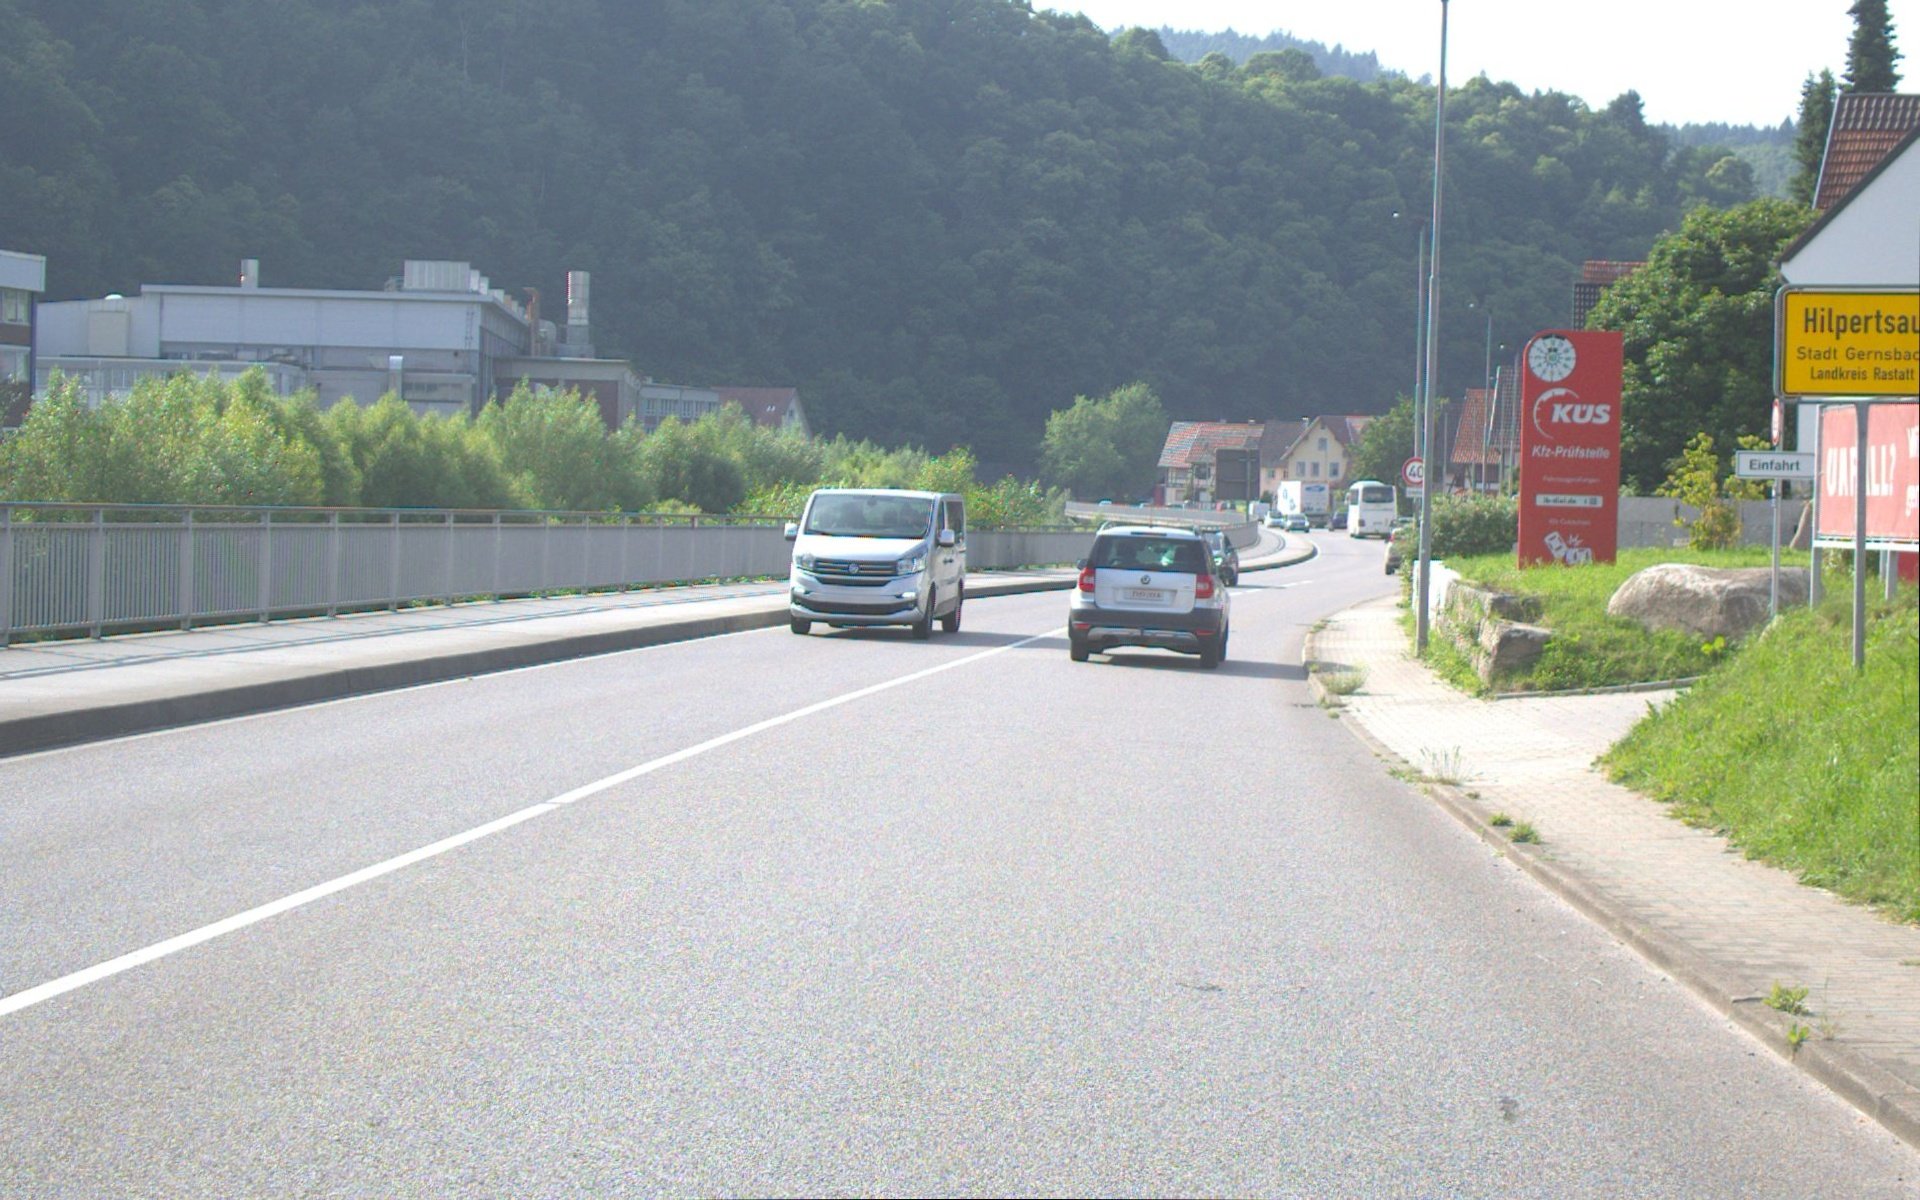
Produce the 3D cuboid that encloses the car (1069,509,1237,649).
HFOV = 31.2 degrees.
[{"bbox_3d":[2.344,-0.298,41.788,1.861,1.539,4.373,2,2,3],"label":"car"}]

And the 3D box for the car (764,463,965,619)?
[{"bbox_3d":[-1.230,-0.799,46.829,1.920,1.961,5.145,1,1,7],"label":"car"}]

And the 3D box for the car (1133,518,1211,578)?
[{"bbox_3d":[5.699,-1.379,92.084,1.813,1.479,4.797,2,1,6],"label":"car"}]

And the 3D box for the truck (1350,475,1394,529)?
[{"bbox_3d":[27.286,-6.522,227.580,2.729,3.363,6.477,2,3,7],"label":"truck"}]
